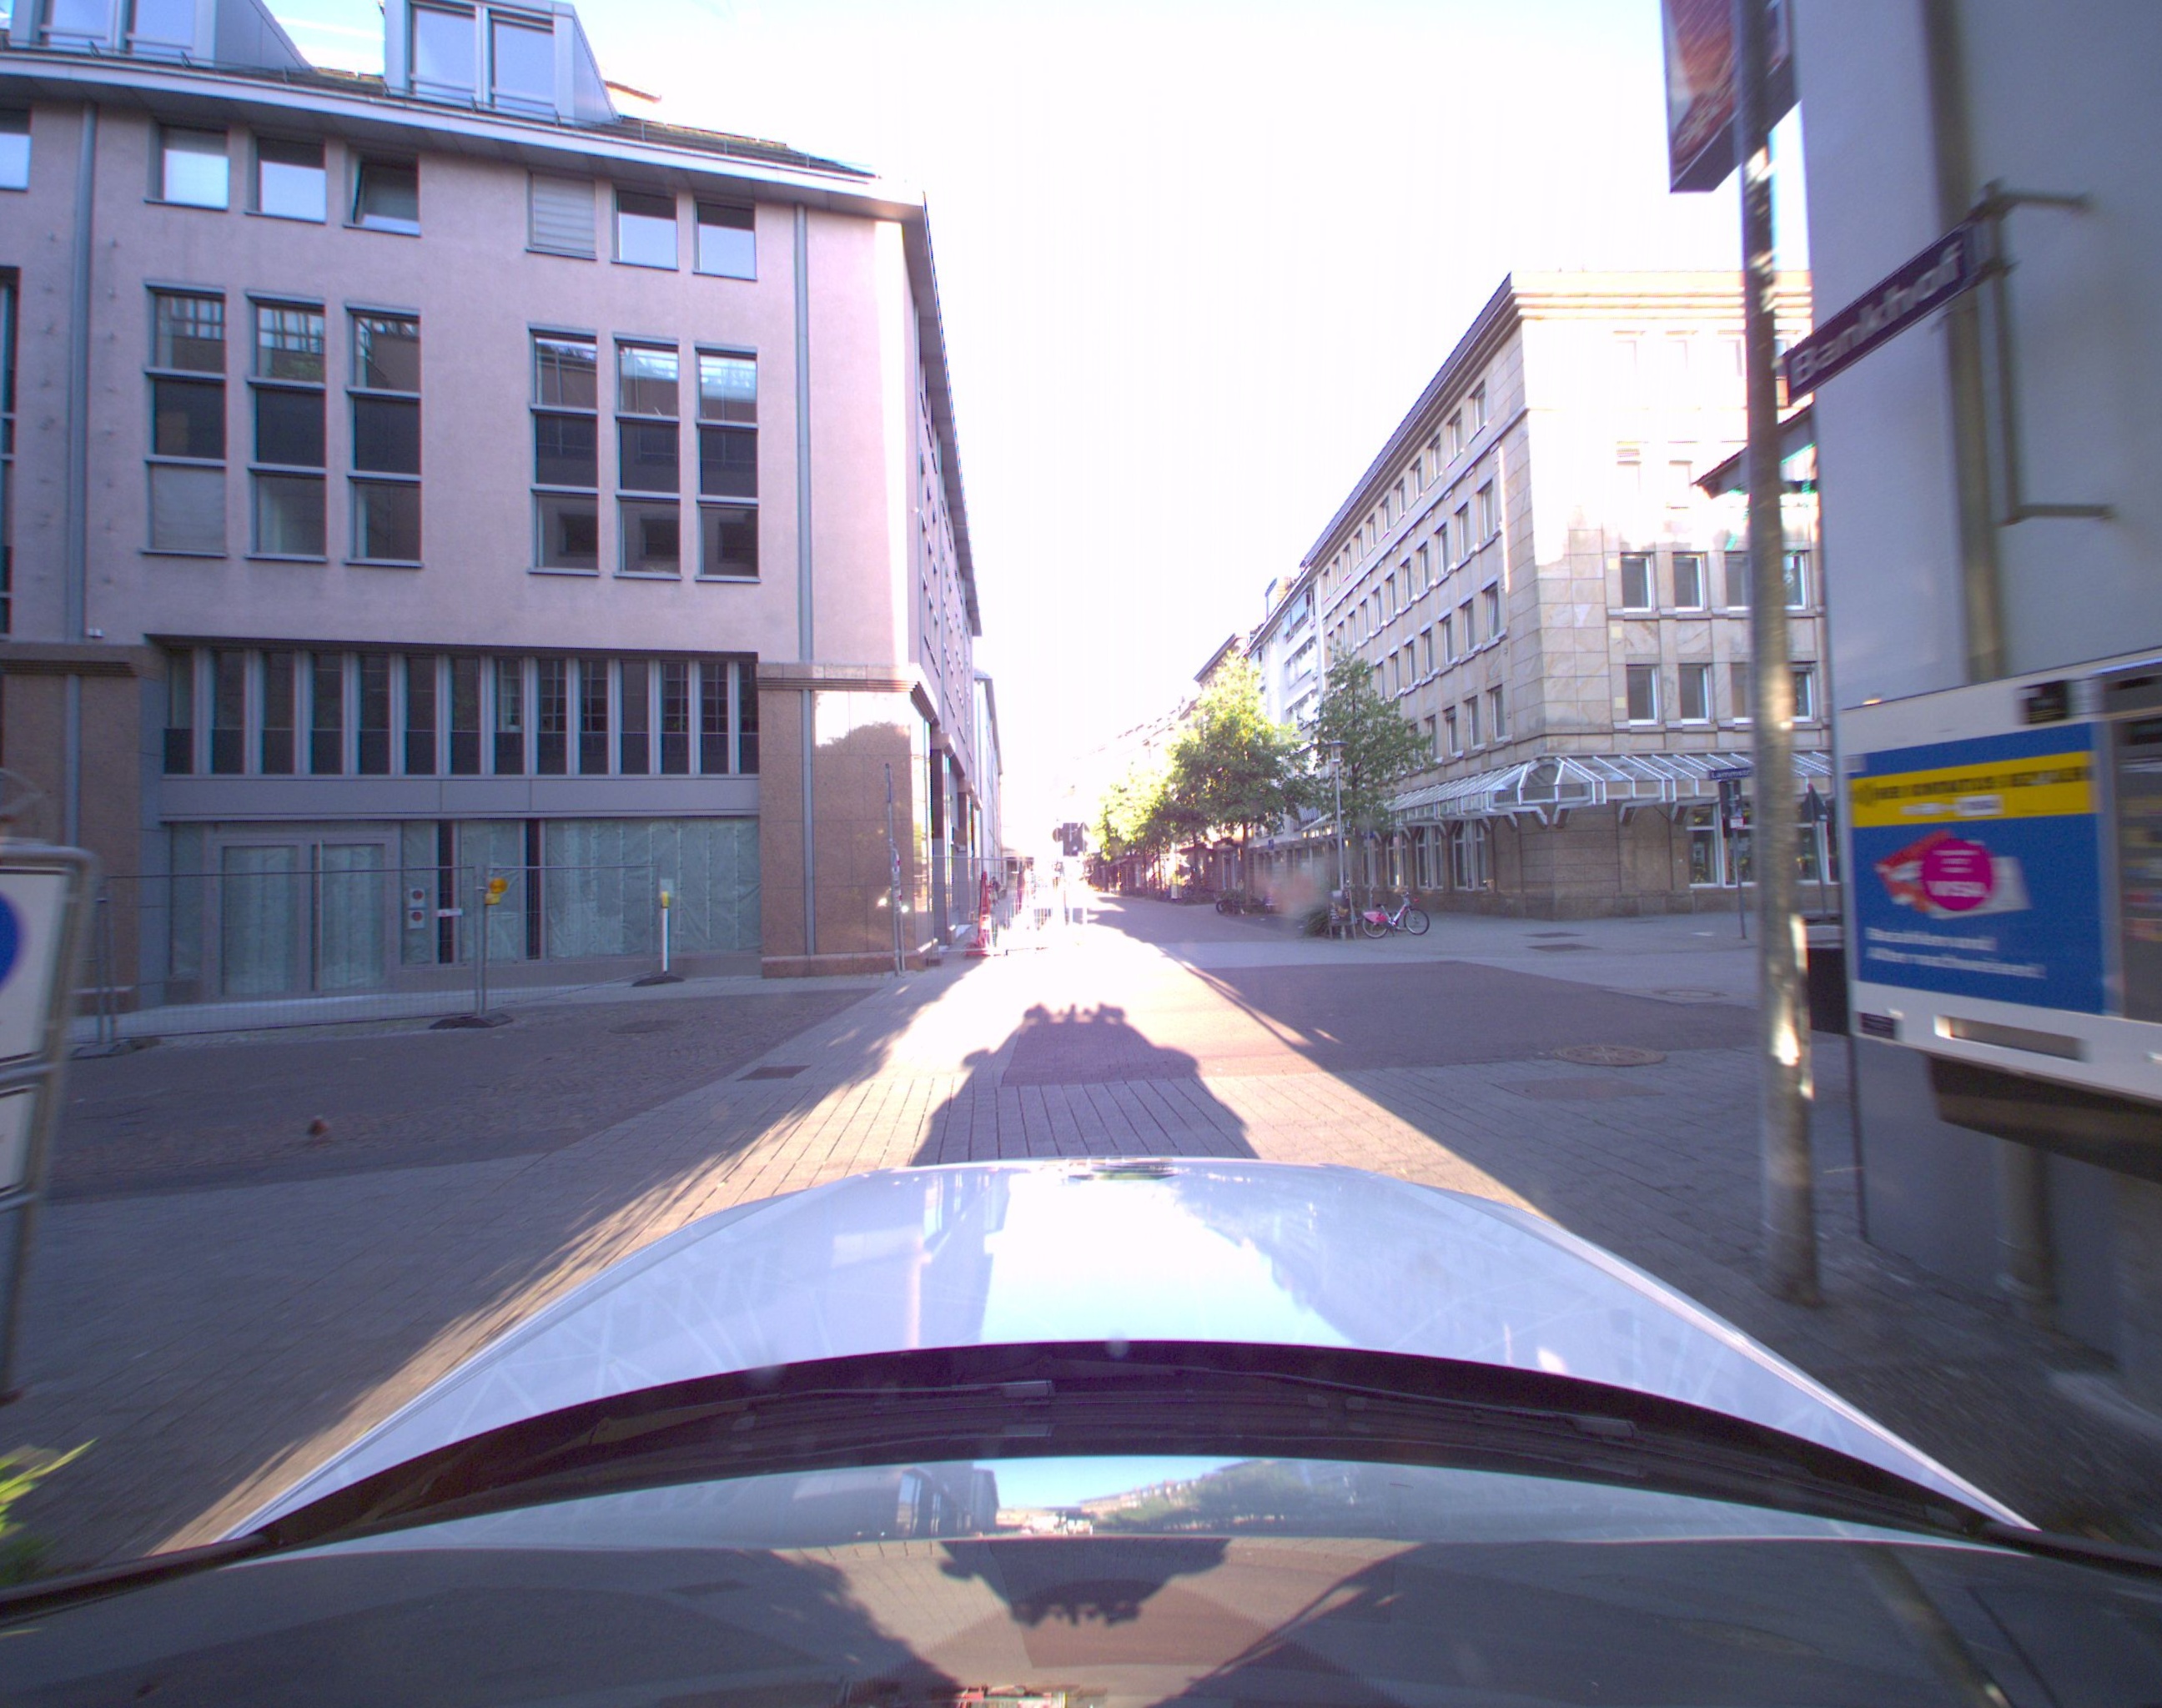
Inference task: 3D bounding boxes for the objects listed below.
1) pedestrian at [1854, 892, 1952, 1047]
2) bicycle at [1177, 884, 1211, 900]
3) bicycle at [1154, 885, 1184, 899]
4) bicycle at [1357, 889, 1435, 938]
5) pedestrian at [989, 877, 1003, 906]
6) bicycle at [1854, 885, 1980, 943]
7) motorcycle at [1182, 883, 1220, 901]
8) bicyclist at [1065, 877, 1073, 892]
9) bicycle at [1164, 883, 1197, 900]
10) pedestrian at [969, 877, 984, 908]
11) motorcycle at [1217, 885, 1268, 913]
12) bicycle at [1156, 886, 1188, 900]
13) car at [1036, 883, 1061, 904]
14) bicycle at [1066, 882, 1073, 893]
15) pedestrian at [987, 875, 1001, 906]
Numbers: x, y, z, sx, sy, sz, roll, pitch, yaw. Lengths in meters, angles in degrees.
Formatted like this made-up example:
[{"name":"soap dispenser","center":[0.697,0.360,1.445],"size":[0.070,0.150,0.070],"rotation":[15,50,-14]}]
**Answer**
[{"name":"pedestrian","center":[6.391,0.875,6.350],"size":[0.405,1.124,0.476],"rotation":[-3,-2,35]},{"name":"bicycle","center":[7.501,2.525,54.024],"size":[2.158,0.926,0.587],"rotation":[-2,-3,-18]},{"name":"bicycle","center":[6.514,2.812,60.293],"size":[2.153,0.926,0.588],"rotation":[-2,-3,-10]},{"name":"bicycle","center":[7.750,1.461,20.114],"size":[1.643,1.051,0.666],"rotation":[-6,-1,15]},{"name":"pedestrian","center":[-4.895,2.176,47.080],"size":[0.652,1.652,0.634],"rotation":[-2,-2,2]},{"name":"bicycle","center":[17.148,1.203,16.774],"size":[0.541,1.051,1.948],"rotation":[-2,0,-1]},{"name":"motorcycle","center":[7.790,2.473,52.883],"size":[2.483,1.095,0.586],"rotation":[-1,-3,-25]},{"name":"bicyclist","center":[-1.209,2.992,81.009],"size":[0.720,1.468,0.716],"rotation":[-2,-2,-4]},{"name":"bicycle","center":[6.796,2.570,55.840],"size":[2.138,1.061,0.592],"rotation":[-3,-3,11]},{"name":"pedestrian","center":[-5.947,2.194,46.304],"size":[0.652,1.726,0.634],"rotation":[-2,-2,2]},{"name":"motorcycle","center":[7.246,2.019,36.570],"size":[2.149,1.151,0.493],"rotation":[-2,-3,-5]},{"name":"bicycle","center":[6.467,2.805,58.171],"size":[2.153,0.926,0.588],"rotation":[-2,-3,-10]},{"name":"car","center":[-2.858,3.466,71.767],"size":[1.840,1.684,3.635],"rotation":[-2,-2,-7]},{"name":"bicycle","center":[-1.173,3.337,81.133],"size":[0.588,1.095,2.156],"rotation":[-2,-3,-4]},{"name":"pedestrian","center":[-4.963,2.082,46.510],"size":[0.652,1.764,0.634],"rotation":[-2,-2,2]}]
